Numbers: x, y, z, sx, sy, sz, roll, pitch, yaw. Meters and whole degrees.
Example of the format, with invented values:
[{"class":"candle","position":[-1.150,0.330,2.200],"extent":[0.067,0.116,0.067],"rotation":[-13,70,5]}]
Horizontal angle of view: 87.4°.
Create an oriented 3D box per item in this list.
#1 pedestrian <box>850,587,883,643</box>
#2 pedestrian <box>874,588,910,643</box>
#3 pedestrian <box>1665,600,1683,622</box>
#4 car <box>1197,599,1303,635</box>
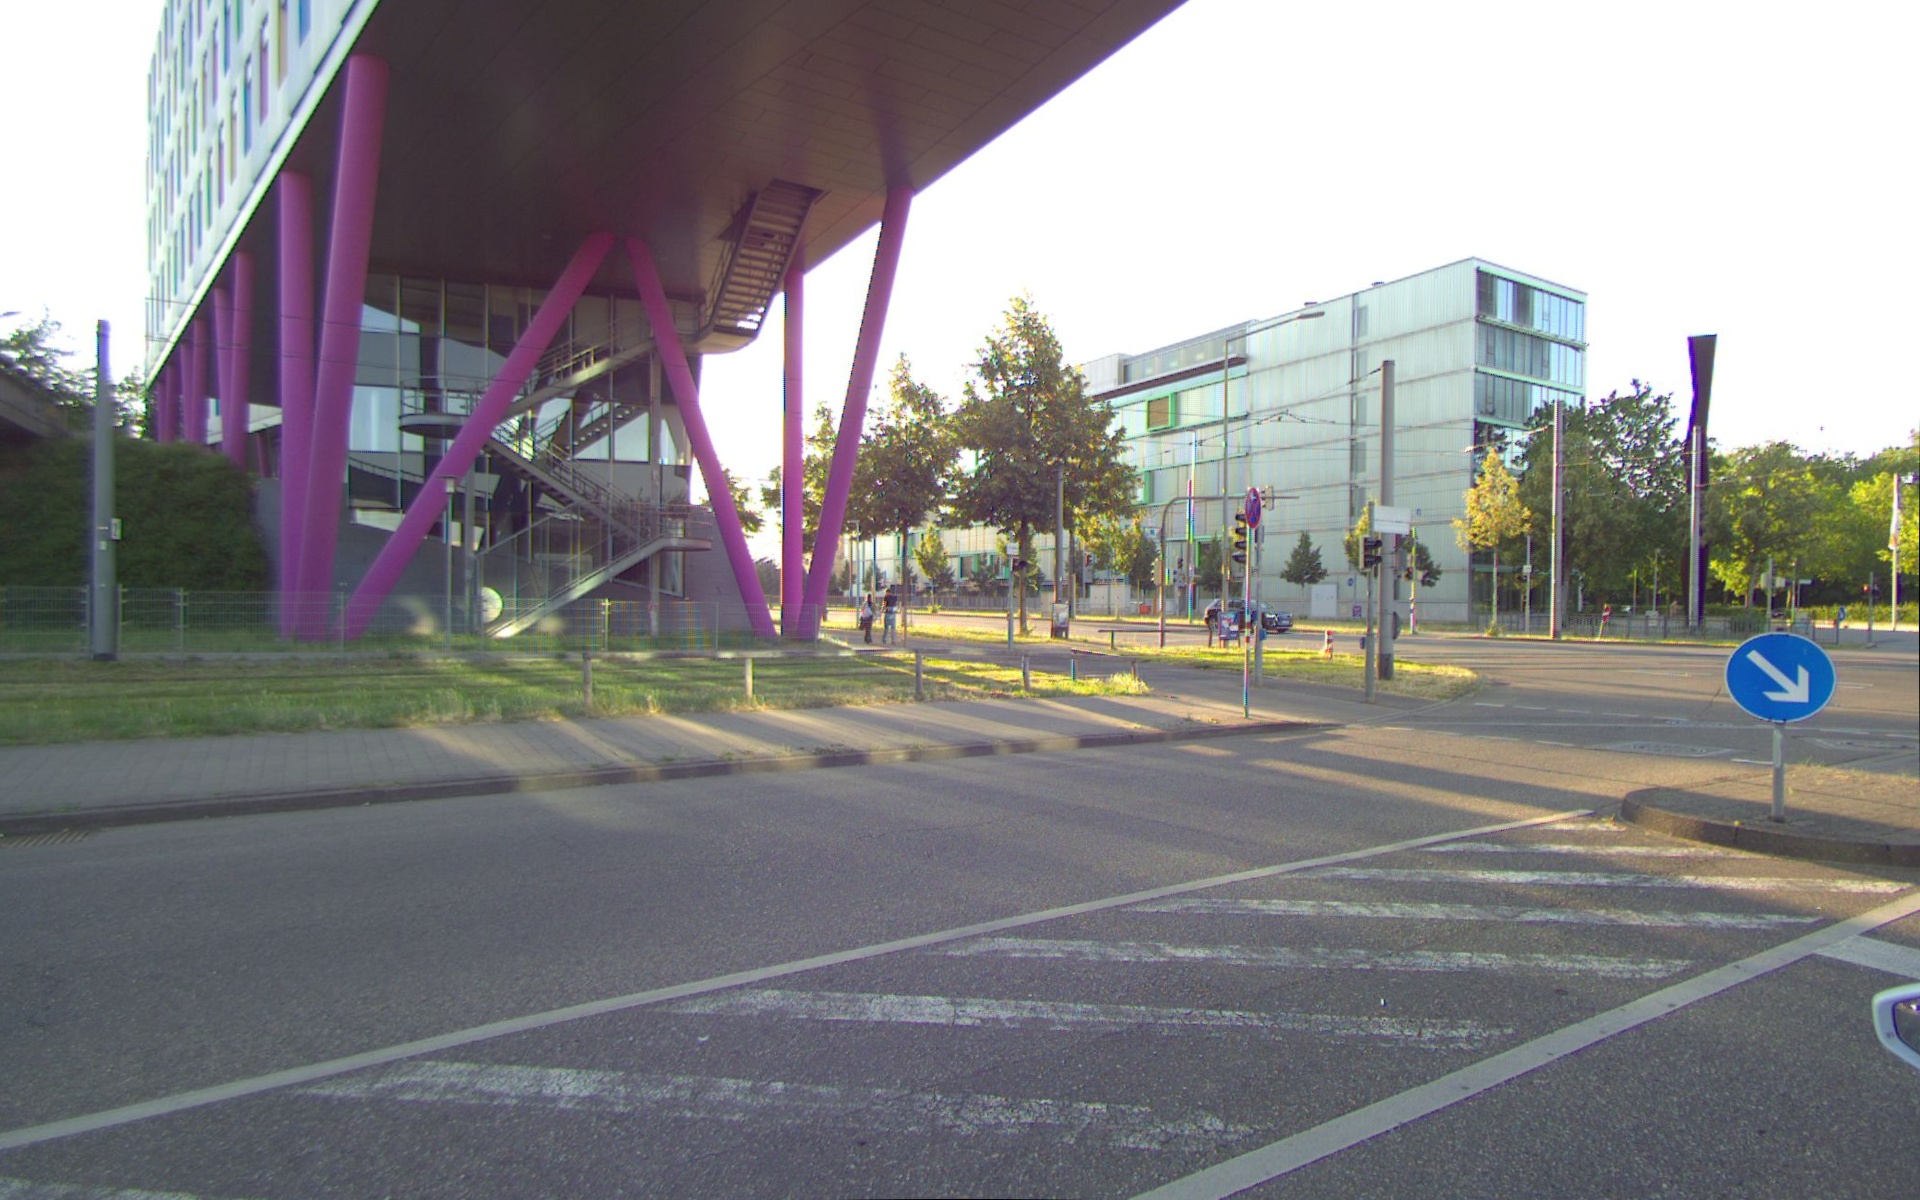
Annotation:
[{"class":"pedestrian","position":[-2.981,0.491,32.045],"extent":[0.755,1.727,0.880],"rotation":[1,-2,-30]},{"class":"pedestrian","position":[-2.212,0.523,32.568],"extent":[0.921,1.747,0.877],"rotation":[1,-2,-28]},{"class":"pedestrian","position":[57.557,0.908,80.966],"extent":[0.814,1.767,0.863],"rotation":[1,0,-1]},{"class":"car","position":[13.285,0.755,46.228],"extent":[1.968,1.577,4.448],"rotation":[1,0,-34]}]
